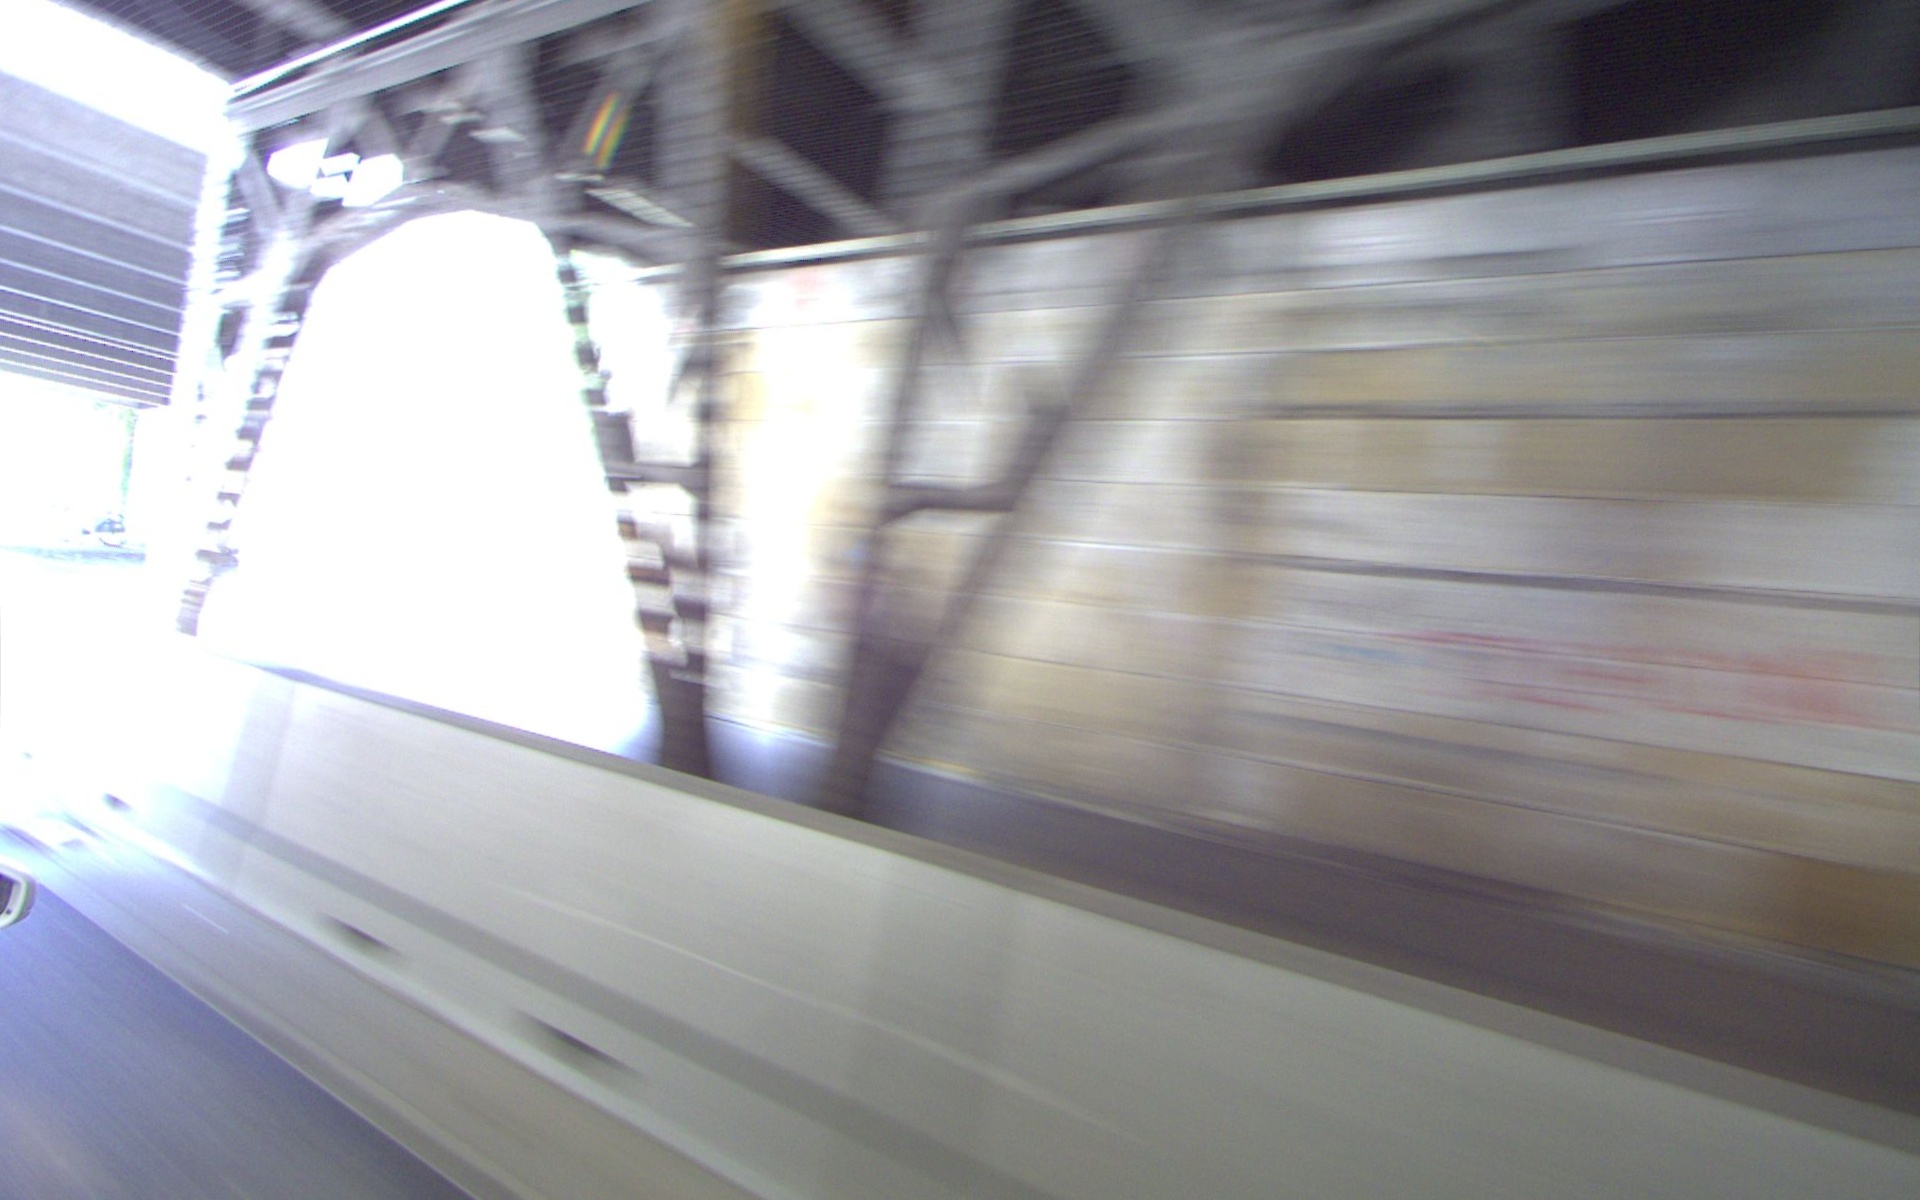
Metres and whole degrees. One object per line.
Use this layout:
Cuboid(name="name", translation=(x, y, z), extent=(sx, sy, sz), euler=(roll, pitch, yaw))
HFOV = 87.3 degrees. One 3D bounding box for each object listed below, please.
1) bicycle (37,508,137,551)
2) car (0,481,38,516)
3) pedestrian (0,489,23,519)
Cuboid(name="bicycle", translation=(-23.637, -1.904, 27.263), extent=(0.498, 0.915, 1.947), euler=(6, 0, 30))
Cuboid(name="car", translation=(-53.465, -5.775, 54.632), extent=(4.651, 1.709, 1.980), euler=(7, 0, -36))
Cuboid(name="pedestrian", translation=(-57.720, -5.848, 61.168), extent=(0.605, 1.694, 0.698), euler=(7, 0, 11))
